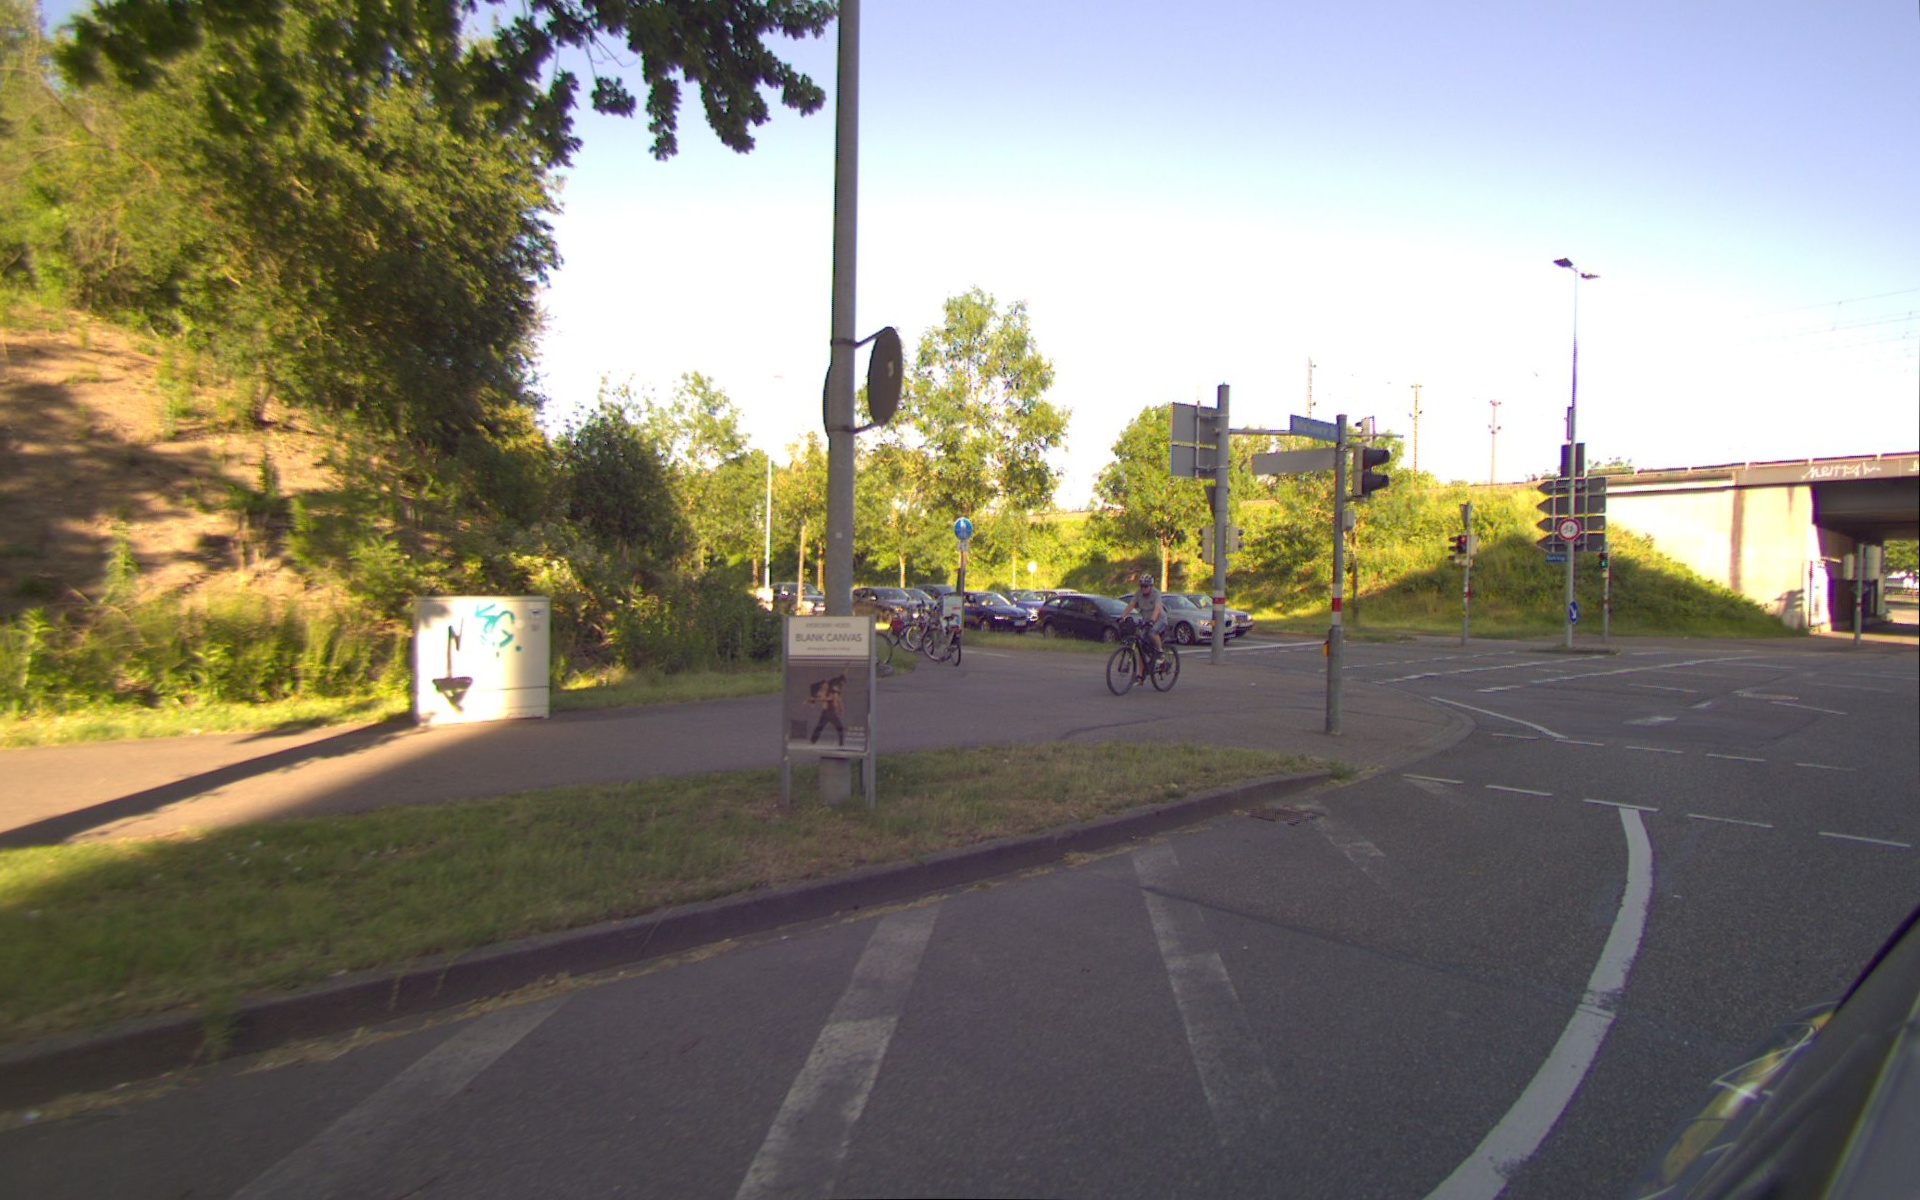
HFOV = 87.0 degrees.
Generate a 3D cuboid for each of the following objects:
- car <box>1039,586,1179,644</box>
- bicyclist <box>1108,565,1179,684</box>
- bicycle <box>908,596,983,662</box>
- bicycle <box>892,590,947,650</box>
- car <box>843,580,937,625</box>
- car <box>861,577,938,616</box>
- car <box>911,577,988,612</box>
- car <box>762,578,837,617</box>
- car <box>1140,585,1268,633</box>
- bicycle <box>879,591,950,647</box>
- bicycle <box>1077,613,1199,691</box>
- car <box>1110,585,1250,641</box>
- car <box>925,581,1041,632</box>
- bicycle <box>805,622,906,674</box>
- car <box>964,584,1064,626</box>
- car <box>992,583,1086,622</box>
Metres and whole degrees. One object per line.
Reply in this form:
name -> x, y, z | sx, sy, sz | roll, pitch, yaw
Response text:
car -> 4.280, 0.380, 29.520 | 1.772, 1.493, 4.000 | -2, 2, -36
bicyclist -> 2.608, 0.323, 14.344 | 0.850, 1.630, 0.566 | 0, 1, -41
bicycle -> -0.280, 0.481, 17.853 | 0.445, 1.066, 1.999 | 0, 1, -28
bicycle -> -0.839, 0.381, 20.634 | 0.445, 1.160, 1.661 | 0, 1, -27
car -> -2.749, 0.043, 38.984 | 1.740, 1.548, 4.141 | -2, 3, -35
car -> -2.722, -0.182, 44.548 | 1.590, 1.548, 3.855 | -2, 3, -35
car -> -0.522, -0.287, 46.113 | 1.561, 1.450, 3.876 | -2, 2, -37
car -> -7.160, -0.156, 44.899 | 1.759, 1.548, 3.855 | -2, 3, -35
car -> 8.108, 0.249, 33.974 | 1.783, 1.450, 4.000 | -2, 2, -36
bicycle -> -1.044, 0.402, 22.494 | 0.685, 1.119, 2.267 | 3, 0, -25
bicycle -> 2.551, 0.704, 14.342 | 2.011, 1.004, 0.572 | 1, 1, -42
car -> 6.553, 0.330, 30.552 | 1.782, 1.493, 4.000 | -1, 2, -35
car -> 0.740, 0.172, 34.478 | 1.812, 1.548, 3.913 | -3, 3, -41
bicycle -> -1.565, 0.714, 15.623 | 0.830, 0.629, 2.186 | 3, 1, 15
car -> 1.921, 0.151, 37.333 | 1.468, 1.376, 3.999 | -2, 2, -37
car -> 3.179, 0.055, 41.412 | 1.561, 1.450, 3.998 | -2, 2, -37
